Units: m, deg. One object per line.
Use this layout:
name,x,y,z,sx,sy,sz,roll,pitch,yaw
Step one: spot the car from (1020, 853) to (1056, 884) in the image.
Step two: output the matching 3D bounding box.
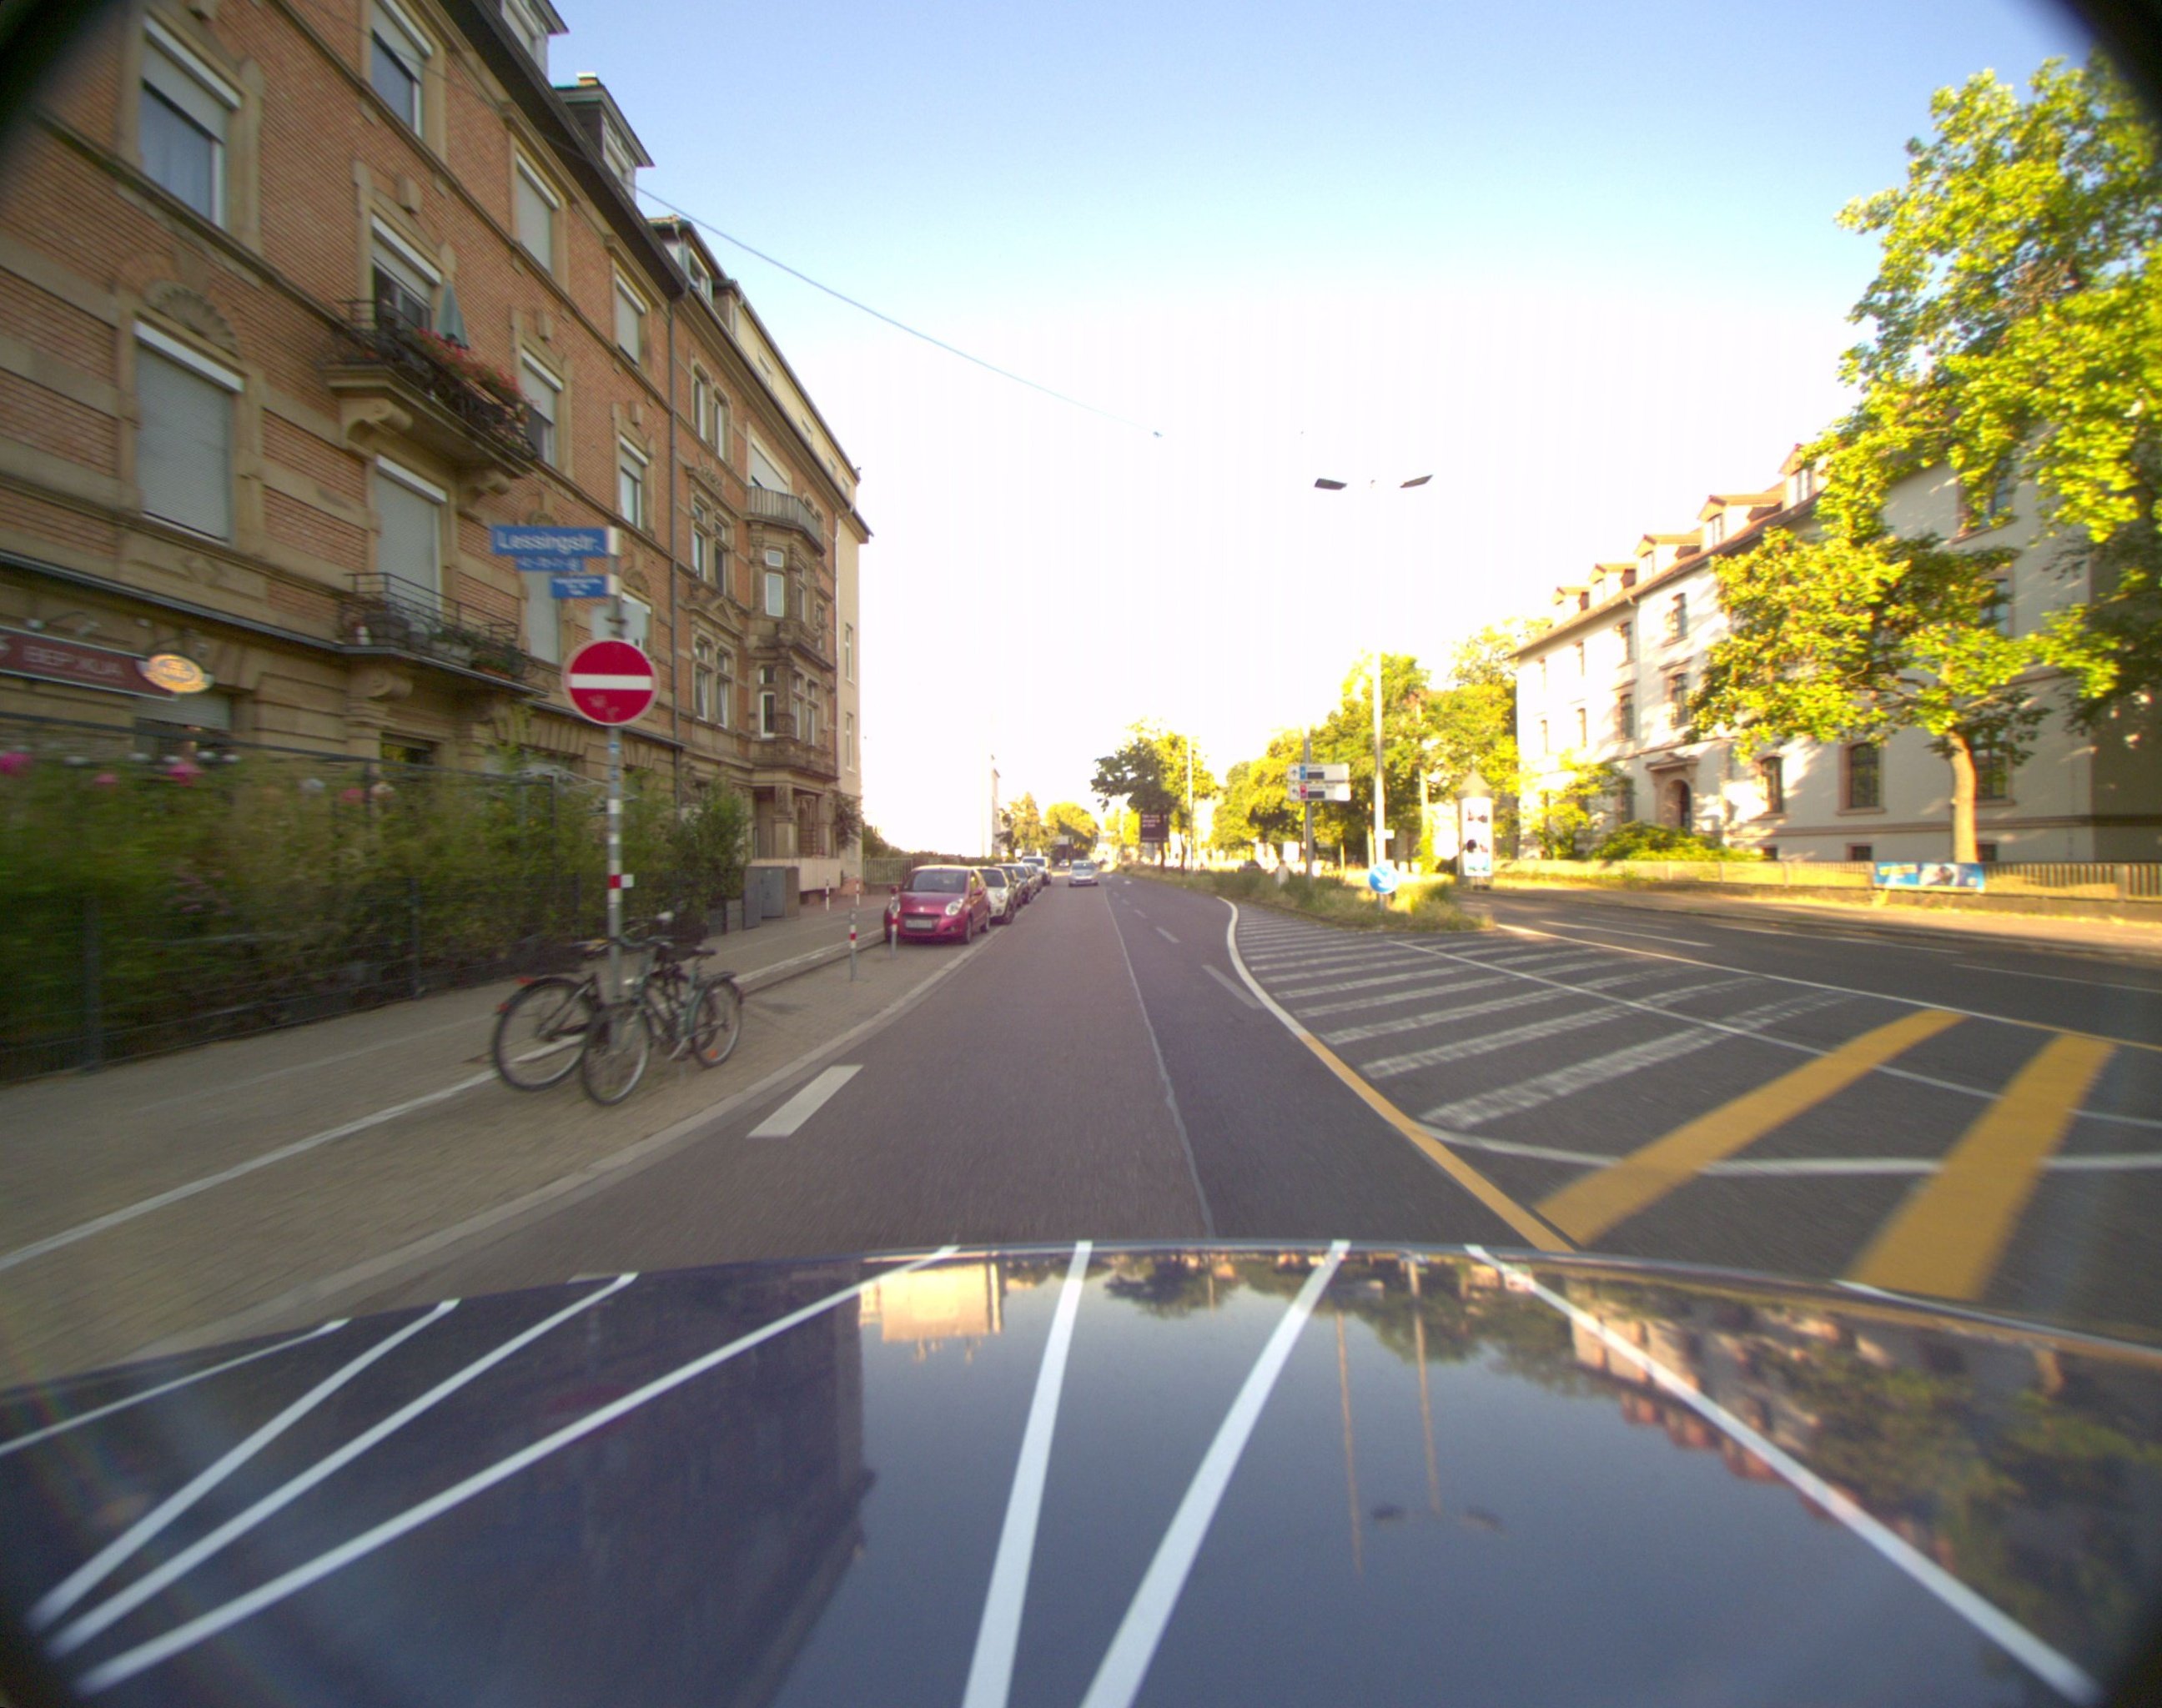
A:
car,-2.800,0.938,50.266,1.892,1.907,5.180,2,0,2

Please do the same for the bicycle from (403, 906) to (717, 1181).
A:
bicycle,-3.365,1.109,5.244,0.567,1.268,2.264,3,1,0

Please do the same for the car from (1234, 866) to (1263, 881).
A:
car,15.189,1.744,69.107,1.778,1.266,4.008,2,0,0

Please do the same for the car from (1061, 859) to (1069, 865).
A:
car,-3.749,1.947,180.338,1.948,1.514,4.163,0,-1,-1

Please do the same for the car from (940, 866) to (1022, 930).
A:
car,-2.507,1.074,19.863,1.681,1.418,3.676,2,0,-1

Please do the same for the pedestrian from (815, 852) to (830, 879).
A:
pedestrian,-8.685,0.381,25.496,0.309,0.865,0.320,-3,0,33

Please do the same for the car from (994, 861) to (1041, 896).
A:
car,-2.801,1.061,34.296,1.751,1.418,3.840,2,0,-1

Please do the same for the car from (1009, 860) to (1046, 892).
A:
car,-2.726,1.115,39.250,1.705,1.479,3.892,2,0,-2

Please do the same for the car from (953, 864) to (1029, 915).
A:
car,-2.812,1.074,24.705,1.892,1.418,4.342,2,0,0

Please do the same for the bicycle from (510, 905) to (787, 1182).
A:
bicycle,-2.784,1.106,5.249,0.567,1.292,2.264,3,1,0

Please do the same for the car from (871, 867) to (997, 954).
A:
car,-2.839,1.054,15.442,1.730,1.456,3.547,2,0,2

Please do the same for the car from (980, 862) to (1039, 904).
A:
car,-2.744,1.065,29.936,1.892,1.439,4.463,2,0,-1

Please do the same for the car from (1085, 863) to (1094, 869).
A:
car,1.883,2.846,178.643,1.948,1.258,4.163,0,-1,-1

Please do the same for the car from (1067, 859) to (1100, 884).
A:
car,0.146,1.057,46.295,1.895,1.454,3.966,0,-1,0
